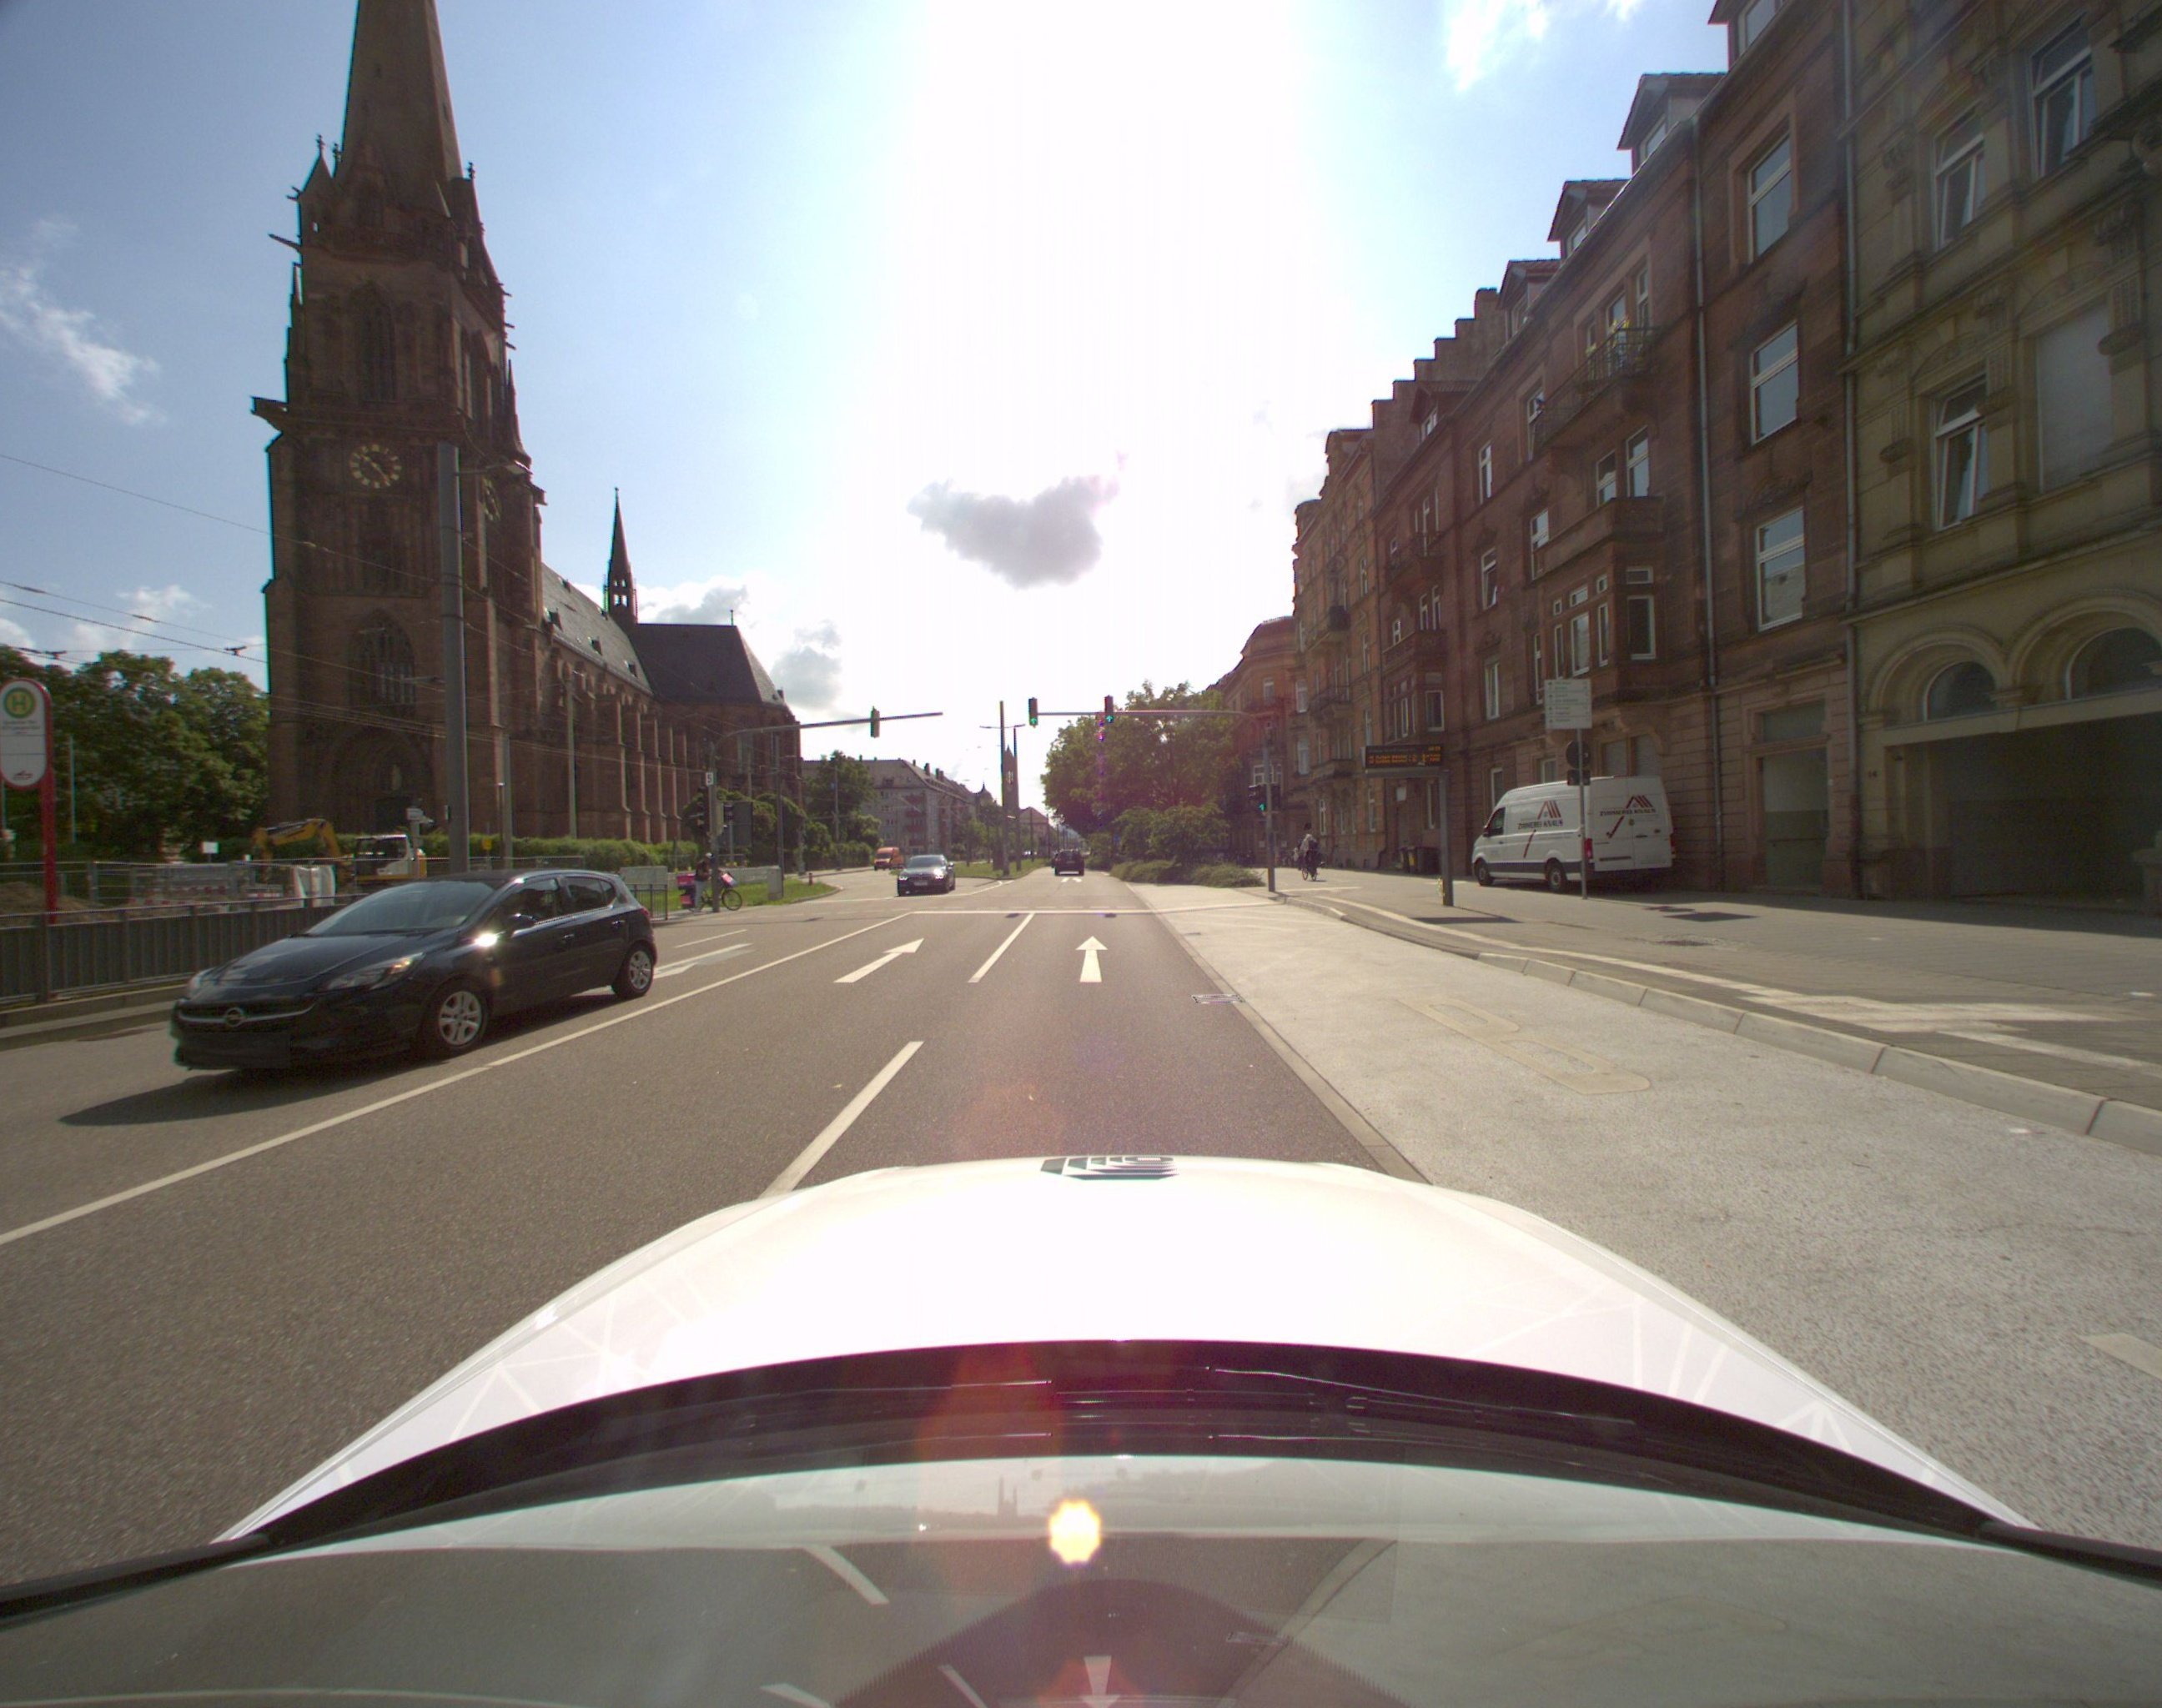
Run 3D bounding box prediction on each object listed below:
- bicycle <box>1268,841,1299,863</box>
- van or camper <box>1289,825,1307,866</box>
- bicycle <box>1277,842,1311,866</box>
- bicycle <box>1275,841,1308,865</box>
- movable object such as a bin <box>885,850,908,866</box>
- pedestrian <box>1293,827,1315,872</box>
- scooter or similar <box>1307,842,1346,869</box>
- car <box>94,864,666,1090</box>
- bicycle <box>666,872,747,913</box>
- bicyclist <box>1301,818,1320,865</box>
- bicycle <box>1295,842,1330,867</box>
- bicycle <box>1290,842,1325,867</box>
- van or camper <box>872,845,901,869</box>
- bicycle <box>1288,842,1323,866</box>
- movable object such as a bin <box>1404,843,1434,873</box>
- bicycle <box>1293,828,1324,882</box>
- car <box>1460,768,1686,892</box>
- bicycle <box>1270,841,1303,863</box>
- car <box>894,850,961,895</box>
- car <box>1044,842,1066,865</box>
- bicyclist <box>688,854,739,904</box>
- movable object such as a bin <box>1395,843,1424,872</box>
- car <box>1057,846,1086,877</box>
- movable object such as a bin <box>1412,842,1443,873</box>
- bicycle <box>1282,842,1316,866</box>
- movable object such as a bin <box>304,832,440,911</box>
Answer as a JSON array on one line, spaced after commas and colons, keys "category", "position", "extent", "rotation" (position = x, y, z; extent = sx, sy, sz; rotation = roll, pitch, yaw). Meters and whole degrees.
[{"category": "bicycle", "position": [12.086, -0.134, 48.593], "extent": [1.761, 1.267, 0.467], "rotation": [-2, 2, 4]}, {"category": "van or camper", "position": [11.091, -0.429, 41.573], "extent": [0.664, 2.013, 0.638], "rotation": [-2, 0, 1]}, {"category": "bicycle", "position": [12.085, 0.012, 46.249], "extent": [1.761, 1.267, 0.467], "rotation": [-2, 2, 4]}, {"category": "bicycle", "position": [12.091, -0.057, 46.871], "extent": [1.761, 1.267, 0.467], "rotation": [-2, 2, 4]}, {"category": "movable object such as a bin", "position": [-23.668, 0.490, 104.392], "extent": [2.202, 1.693, 3.713], "rotation": [-2, 3, -3]}, {"category": "pedestrian", "position": [10.226, -0.224, 37.352], "extent": [0.765, 2.013, 0.715], "rotation": [-2, 0, 1]}, {"category": "scooter or similar", "position": [12.288, 0.078, 40.734], "extent": [1.763, 1.185, 0.466], "rotation": [-4, -1, 0]}, {"category": "car", "position": [-5.785, 0.868, 7.479], "extent": [1.909, 1.417, 3.742], "rotation": [-2, 0, 1]}, {"category": "bicycle", "position": [-11.302, 1.144, 24.587], "extent": [2.005, 1.126, 0.934], "rotation": [-2, 0, 11]}, {"category": "bicyclist", "position": [8.630, -0.453, 30.627], "extent": [0.426, 1.718, 0.828], "rotation": [-2, -1, 2]}, {"category": "bicycle", "position": [12.346, 0.006, 43.455], "extent": [1.761, 1.267, 0.467], "rotation": [-2, 2, 4]}, {"category": "bicycle", "position": [12.240, 0.028, 43.995], "extent": [1.738, 1.267, 0.467], "rotation": [-2, 2, 4]}, {"category": "van or camper", "position": [-23.398, 0.344, 98.047], "extent": [2.251, 2.737, 6.195], "rotation": [-2, 0, -3]}, {"category": "bicycle", "position": [12.306, -0.014, 44.619], "extent": [1.761, 1.267, 0.467], "rotation": [-2, 2, 4]}, {"category": "movable object such as a bin", "position": [12.804, 0.138, 30.882], "extent": [0.783, 1.107, 0.776], "rotation": [-2, 0, -1]}, {"category": "bicycle", "position": [8.541, 0.033, 30.618], "extent": [0.681, 1.925, 1.590], "rotation": [-2, 0, 2]}, {"category": "car", "position": [11.570, -0.525, 19.831], "extent": [1.986, 2.525, 5.889], "rotation": [-2, 1, 1]}, {"category": "bicycle", "position": [12.094, -0.120, 47.955], "extent": [1.761, 1.267, 0.467], "rotation": [-2, 2, 4]}, {"category": "car", "position": [-5.861, 0.656, 31.698], "extent": [1.813, 1.552, 4.557], "rotation": [-2, 0, -2]}, {"category": "car", "position": [-2.497, -0.036, 77.847], "extent": [1.988, 2.013, 3.997], "rotation": [-2, 0, -2]}, {"category": "bicyclist", "position": [-11.087, 0.734, 24.587], "extent": [1.082, 1.436, 0.827], "rotation": [-2, 0, 10]}, {"category": "movable object such as a bin", "position": [12.800, 0.131, 31.777], "extent": [0.783, 1.107, 0.776], "rotation": [-2, 0, -1]}, {"category": "car", "position": [-0.600, 0.445, 51.803], "extent": [1.684, 1.711, 3.608], "rotation": [-2, 3, -1]}, {"category": "movable object such as a bin", "position": [12.808, 0.140, 30.126], "extent": [0.783, 1.107, 0.776], "rotation": [-2, 0, -1]}, {"category": "bicycle", "position": [12.147, -0.025, 45.444], "extent": [1.761, 1.267, 0.467], "rotation": [-2, 2, 4]}, {"category": "movable object such as a bin", "position": [-30.643, 0.672, 35.379], "extent": [1.984, 3.105, 4.007], "rotation": [-2, 3, 5]}]
